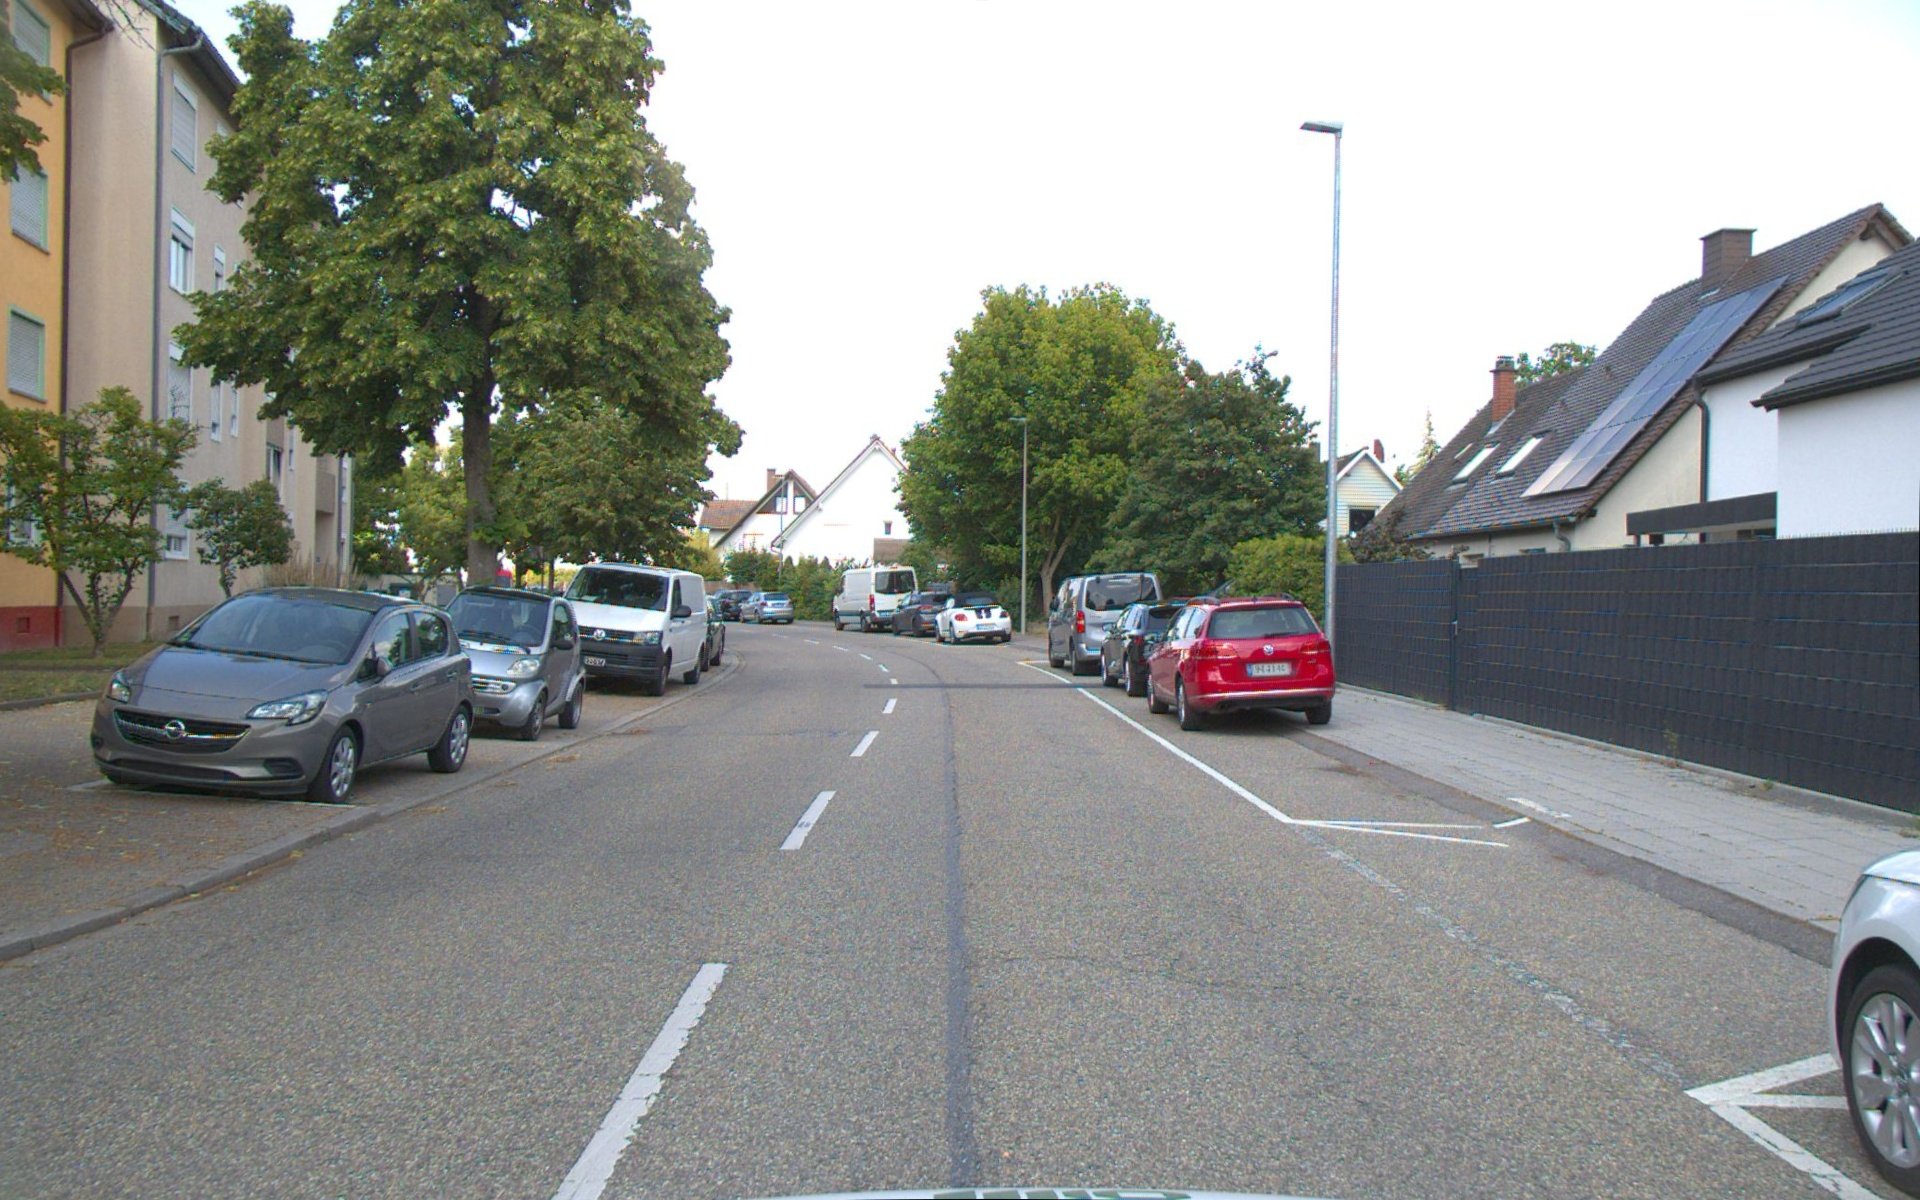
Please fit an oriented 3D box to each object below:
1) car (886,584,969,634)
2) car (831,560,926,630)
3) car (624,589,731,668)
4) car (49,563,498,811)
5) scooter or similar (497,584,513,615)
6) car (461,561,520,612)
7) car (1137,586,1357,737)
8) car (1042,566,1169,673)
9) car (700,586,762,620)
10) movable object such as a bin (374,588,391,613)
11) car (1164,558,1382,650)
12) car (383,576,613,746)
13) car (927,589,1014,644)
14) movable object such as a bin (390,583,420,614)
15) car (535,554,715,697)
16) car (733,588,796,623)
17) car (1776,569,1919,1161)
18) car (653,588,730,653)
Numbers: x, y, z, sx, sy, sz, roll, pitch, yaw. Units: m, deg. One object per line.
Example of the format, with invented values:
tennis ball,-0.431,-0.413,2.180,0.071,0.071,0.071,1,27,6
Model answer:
car,-1.159,0.287,56.820,1.691,1.613,4.103,1,0,-18
car,-3.170,-0.211,62.651,2.085,2.483,5.864,1,0,-18
car,-5.923,0.555,35.118,1.725,1.515,4.501,2,0,-4
car,-5.097,0.616,12.940,1.649,1.512,3.984,4,-1,2
scooter or similar,-18.014,-0.013,65.479,0.413,1.186,1.133,3,0,-22
car,-25.607,-0.760,90.103,2.038,2.544,5.795,6,-1,-25
car,3.404,0.660,20.506,1.812,1.607,4.732,1,0,-1
car,2.851,0.348,33.510,1.806,1.978,4.872,-1,0,-4
car,-11.340,0.136,81.646,1.716,1.535,4.439,2,0,-26
movable object such as a bin,-25.689,0.016,73.599,0.614,1.042,0.875,1,4,-15
car,7.918,0.081,41.772,5.227,2.093,2.002,2,0,13
car,-5.142,0.606,18.881,1.487,1.575,3.754,7,0,-2
car,0.270,0.471,49.889,1.709,1.539,4.445,1,0,-12
movable object such as a bin,-24.781,-0.085,73.852,1.172,1.296,0.875,1,4,-15
car,-5.368,0.359,27.235,1.841,2.044,5.322,2,0,0
car,-9.067,0.230,76.566,1.714,1.483,4.333,1,0,-24
car,3.264,0.703,3.132,1.685,1.512,3.750,1,0,2
car,-7.126,0.507,43.588,1.730,1.515,4.020,3,0,-12
